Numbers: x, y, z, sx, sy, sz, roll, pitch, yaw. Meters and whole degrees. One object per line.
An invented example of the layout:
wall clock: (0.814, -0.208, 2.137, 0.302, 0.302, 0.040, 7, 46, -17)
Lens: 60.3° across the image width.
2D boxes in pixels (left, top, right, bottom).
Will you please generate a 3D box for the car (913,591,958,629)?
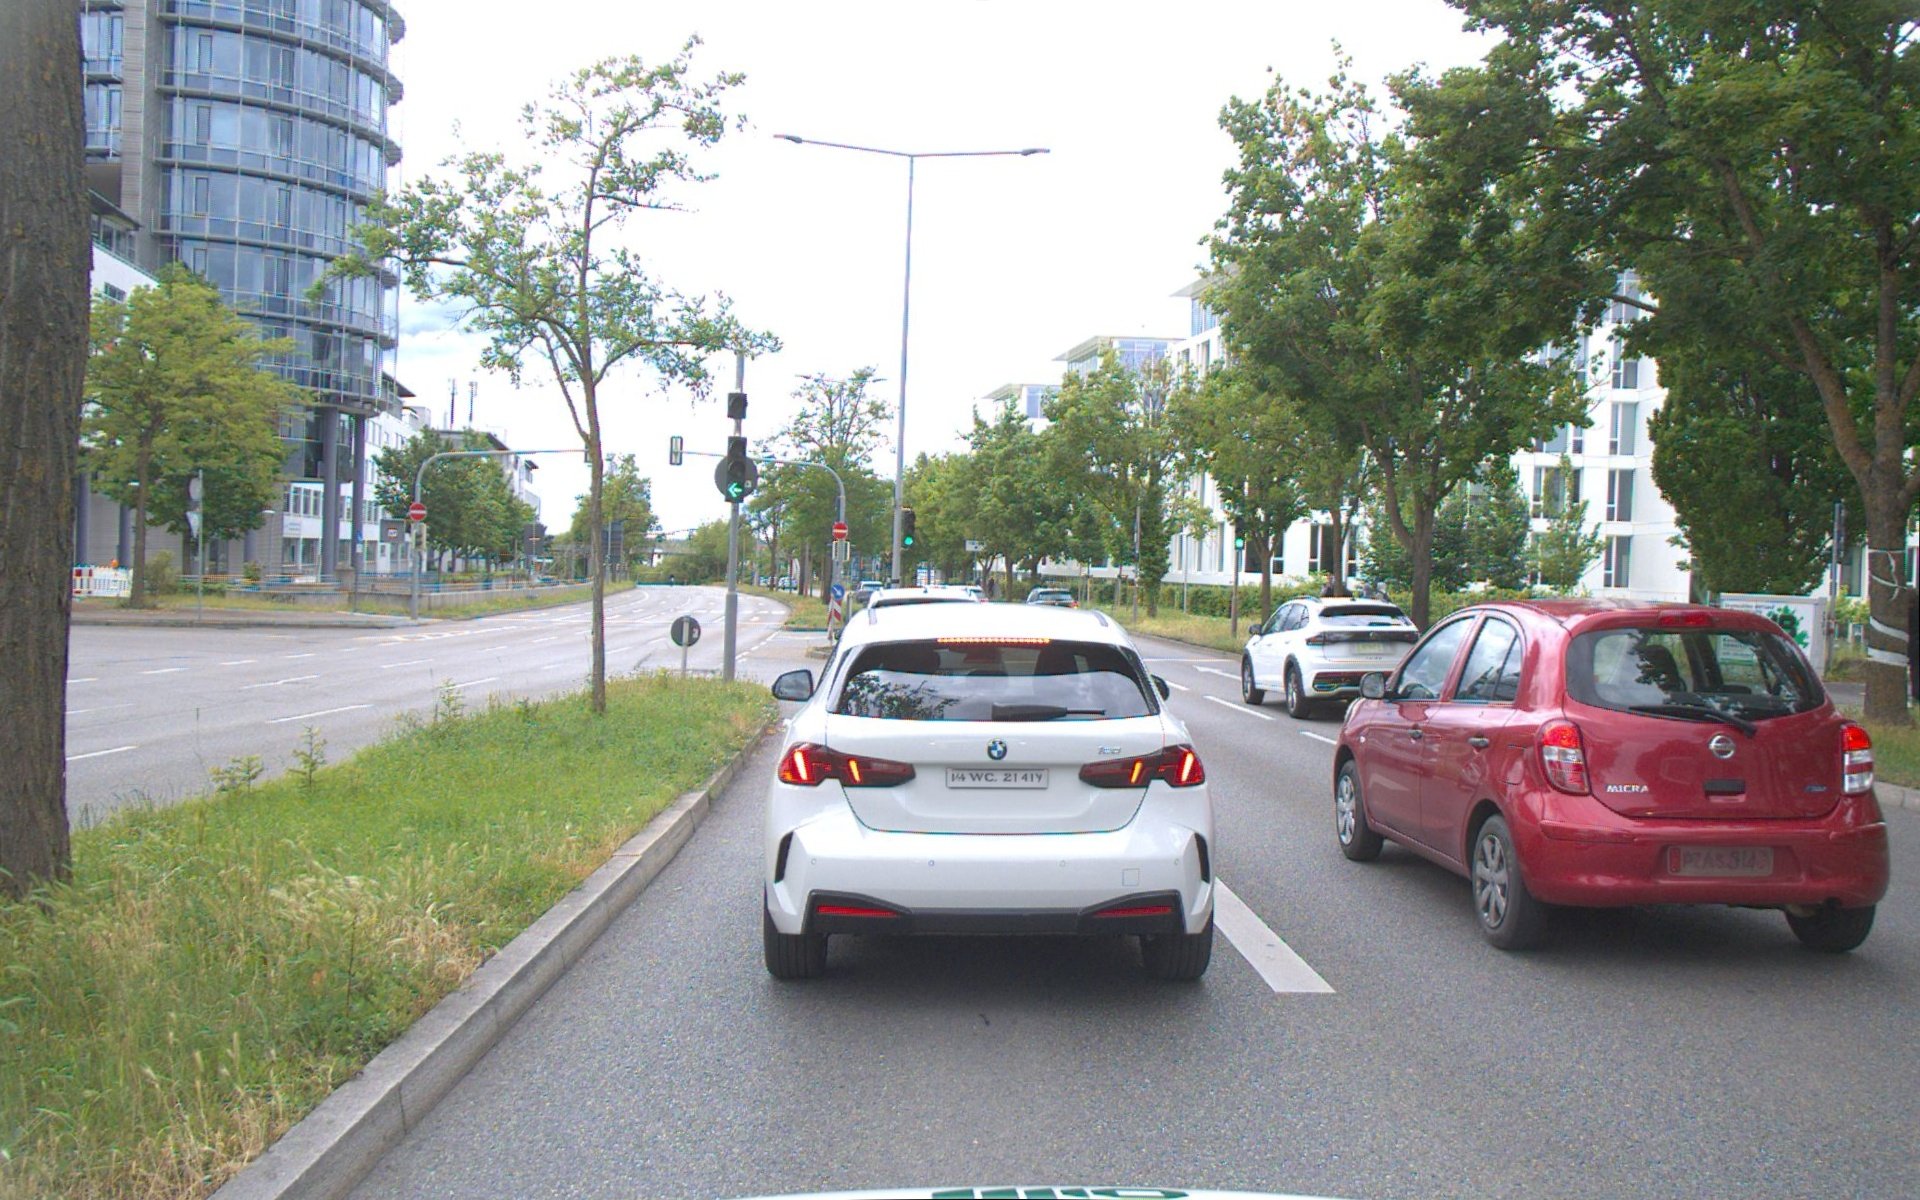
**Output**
car: (-1.027, 0.395, 68.333, 1.574, 1.494, 3.672, 1, 0, -5)

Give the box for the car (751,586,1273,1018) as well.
car: (0.155, 0.698, 7.762, 1.785, 1.463, 3.999, 1, 0, -1)

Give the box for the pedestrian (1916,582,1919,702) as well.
pedestrian: (13.838, 0.600, 22.809, 0.762, 1.689, 0.952, 1, 0, 5)

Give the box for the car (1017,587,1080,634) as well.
car: (2.972, 0.362, 56.200, 1.624, 1.539, 3.996, 1, -1, -4)

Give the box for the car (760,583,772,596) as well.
car: (-27.633, -1.519, 235.443, 1.664, 1.747, 3.992, 1, 0, -9)

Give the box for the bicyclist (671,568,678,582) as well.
bicyclist: (-35.351, -3.056, 204.785, 0.796, 1.681, 1.185, 1, -1, -12)

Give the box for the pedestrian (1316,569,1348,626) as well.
pedestrian: (10.605, -0.063, 47.209, 0.726, 1.601, 0.674, 1, -1, -2)

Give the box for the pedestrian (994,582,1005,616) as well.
pedestrian: (3.151, -0.095, 131.639, 0.814, 2.673, 0.646, 1, 0, -1)

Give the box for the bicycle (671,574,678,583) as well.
bicycle: (-35.342, -2.688, 204.722, 0.796, 1.123, 2.549, 1, 0, -11)

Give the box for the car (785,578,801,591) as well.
car: (-21.261, -1.966, 210.439, 1.956, 1.699, 3.993, 0, 0, -8)

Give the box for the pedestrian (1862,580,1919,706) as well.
pedestrian: (13.079, 0.588, 22.773, 0.779, 1.689, 1.060, 1, 0, 5)

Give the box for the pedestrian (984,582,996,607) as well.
pedestrian: (2.521, -0.486, 138.815, 0.835, 2.049, 0.603, 1, 0, -16)

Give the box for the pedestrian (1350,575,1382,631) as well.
pedestrian: (12.029, 0.089, 49.021, 0.685, 1.623, 0.883, 1, -1, -2)

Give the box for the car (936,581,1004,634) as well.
car: (0.272, 0.226, 53.126, 1.818, 1.624, 4.309, 0, 0, -5)

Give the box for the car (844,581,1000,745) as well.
car: (-0.409, 0.622, 18.488, 1.518, 1.596, 3.999, 1, 0, -1)

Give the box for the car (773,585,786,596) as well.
car: (-25.585, -1.314, 234.446, 1.661, 1.512, 3.685, 1, 0, -9)

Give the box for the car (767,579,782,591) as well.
car: (-28.817, -2.337, 256.966, 1.957, 1.763, 3.990, 1, 0, -10)

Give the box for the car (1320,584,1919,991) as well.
car: (3.126, 0.723, 8.400, 1.681, 1.585, 3.857, 0, 0, -1)

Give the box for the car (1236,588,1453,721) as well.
car: (4.993, 0.653, 22.019, 1.682, 1.583, 4.086, 1, 0, -4)

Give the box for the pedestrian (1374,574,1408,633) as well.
pedestrian: (12.771, 0.102, 49.059, 0.751, 1.715, 0.883, 1, -1, -2)

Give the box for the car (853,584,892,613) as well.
car: (-5.127, -0.120, 96.582, 1.856, 1.624, 4.305, 1, 0, -9)

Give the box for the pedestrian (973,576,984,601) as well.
pedestrian: (1.580, -0.964, 140.767, 0.749, 2.049, 0.751, 1, -1, -16)

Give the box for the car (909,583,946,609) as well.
car: (-1.856, -0.235, 94.089, 1.623, 1.450, 3.528, 0, 0, -9)

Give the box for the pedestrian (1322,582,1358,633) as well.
pedestrian: (11.242, 0.232, 48.981, 0.773, 1.473, 1.111, 1, 0, -2)
